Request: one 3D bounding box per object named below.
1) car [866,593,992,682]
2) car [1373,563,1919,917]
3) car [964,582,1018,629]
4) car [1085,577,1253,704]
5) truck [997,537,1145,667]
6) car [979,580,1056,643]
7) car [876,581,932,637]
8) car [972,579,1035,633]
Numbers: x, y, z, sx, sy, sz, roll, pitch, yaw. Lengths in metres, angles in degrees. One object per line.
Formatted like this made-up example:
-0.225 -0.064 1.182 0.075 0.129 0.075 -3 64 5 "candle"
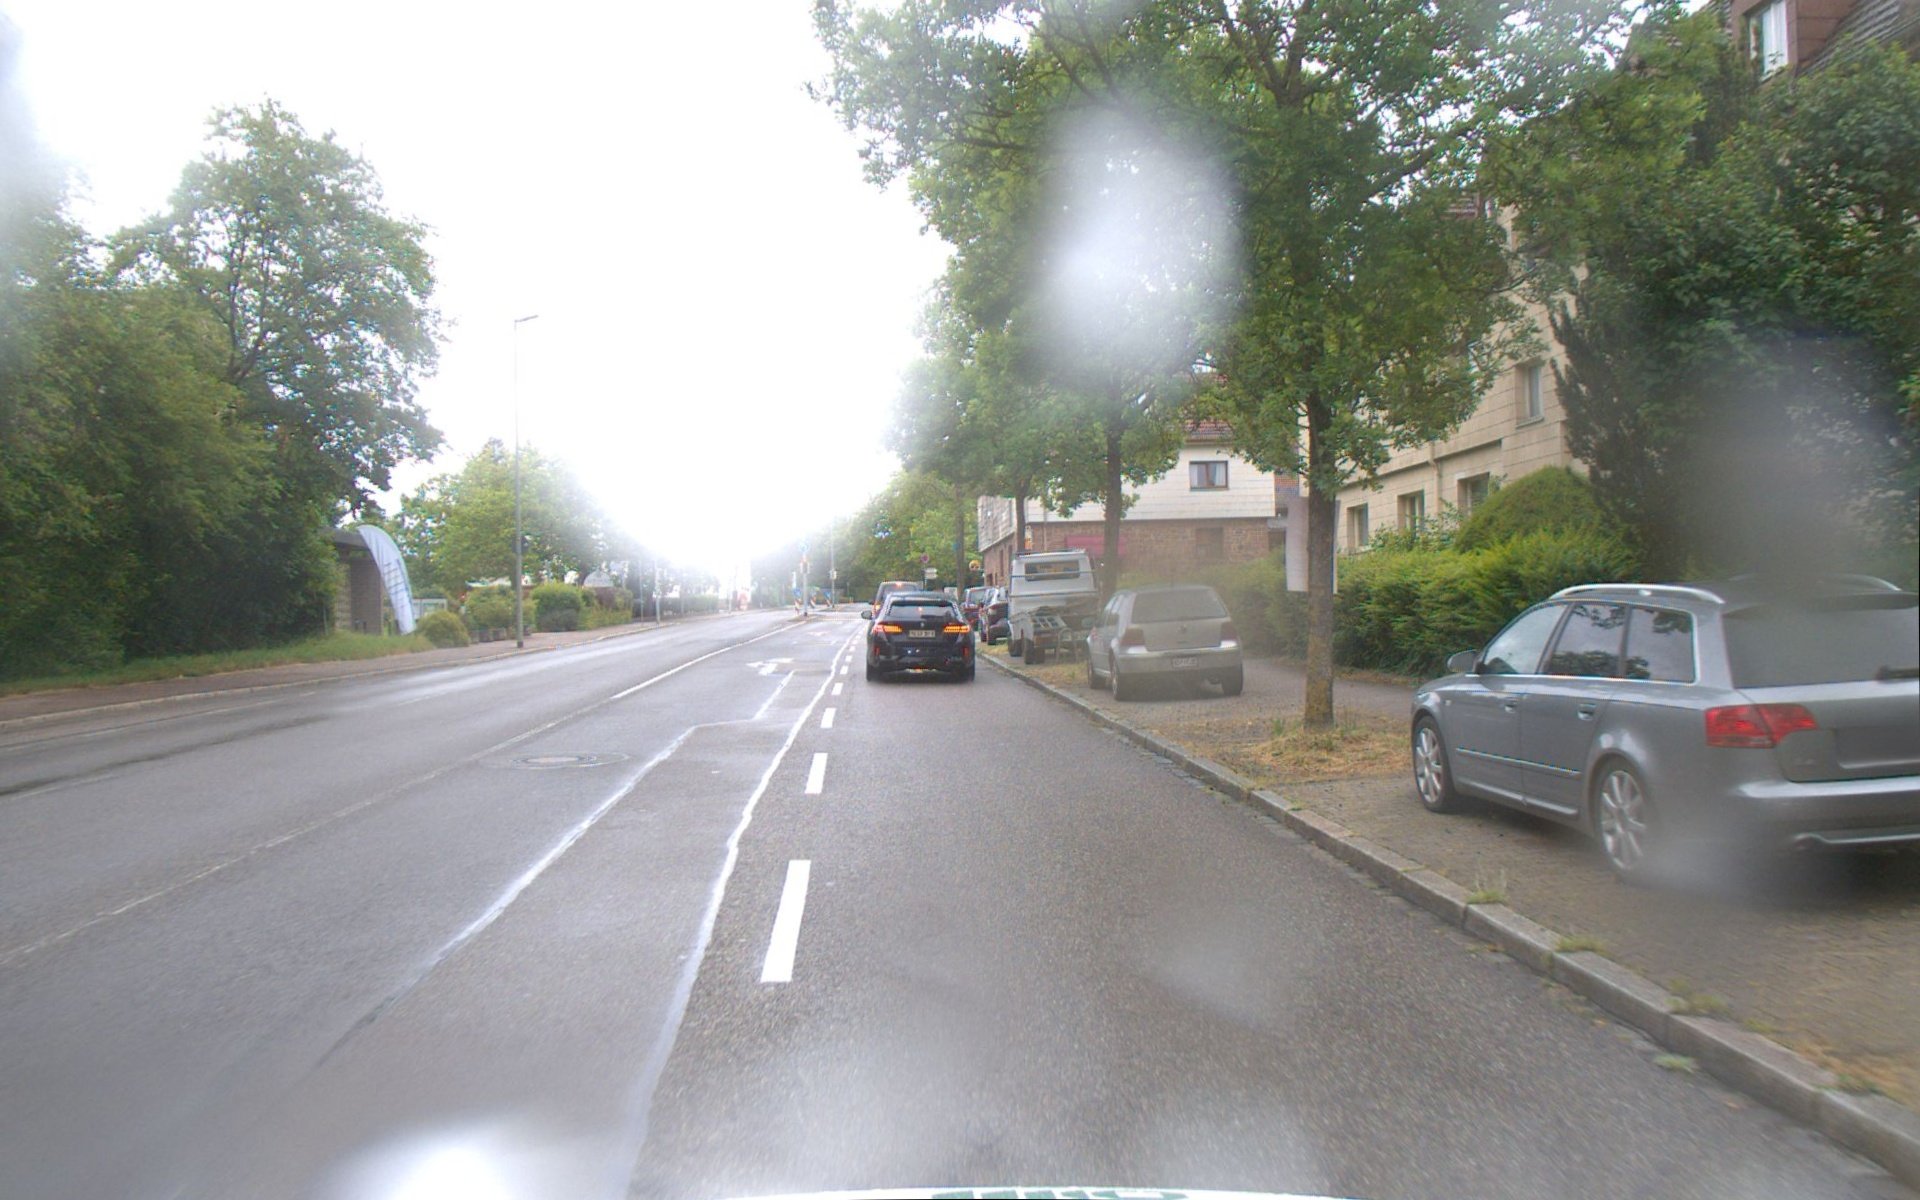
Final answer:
-0.644 0.610 29.667 2.024 1.472 4.479 0 0 -4 "car"
3.880 0.565 9.292 1.655 1.413 4.496 -3 1 -4 "car"
1.089 0.172 60.473 1.553 1.516 3.624 -4 1 -4 "car"
2.784 0.480 22.837 1.569 1.461 4.020 -4 1 -2 "car"
2.120 0.010 33.729 2.039 2.260 6.496 -4 1 -4 "truck"
1.518 0.272 45.070 1.680 1.524 4.181 -4 1 -2 "car"
-1.961 0.286 56.791 1.748 1.849 3.997 -1 0 -4 "car"
1.305 0.169 51.132 1.572 1.497 3.854 -4 1 -2 "car"
